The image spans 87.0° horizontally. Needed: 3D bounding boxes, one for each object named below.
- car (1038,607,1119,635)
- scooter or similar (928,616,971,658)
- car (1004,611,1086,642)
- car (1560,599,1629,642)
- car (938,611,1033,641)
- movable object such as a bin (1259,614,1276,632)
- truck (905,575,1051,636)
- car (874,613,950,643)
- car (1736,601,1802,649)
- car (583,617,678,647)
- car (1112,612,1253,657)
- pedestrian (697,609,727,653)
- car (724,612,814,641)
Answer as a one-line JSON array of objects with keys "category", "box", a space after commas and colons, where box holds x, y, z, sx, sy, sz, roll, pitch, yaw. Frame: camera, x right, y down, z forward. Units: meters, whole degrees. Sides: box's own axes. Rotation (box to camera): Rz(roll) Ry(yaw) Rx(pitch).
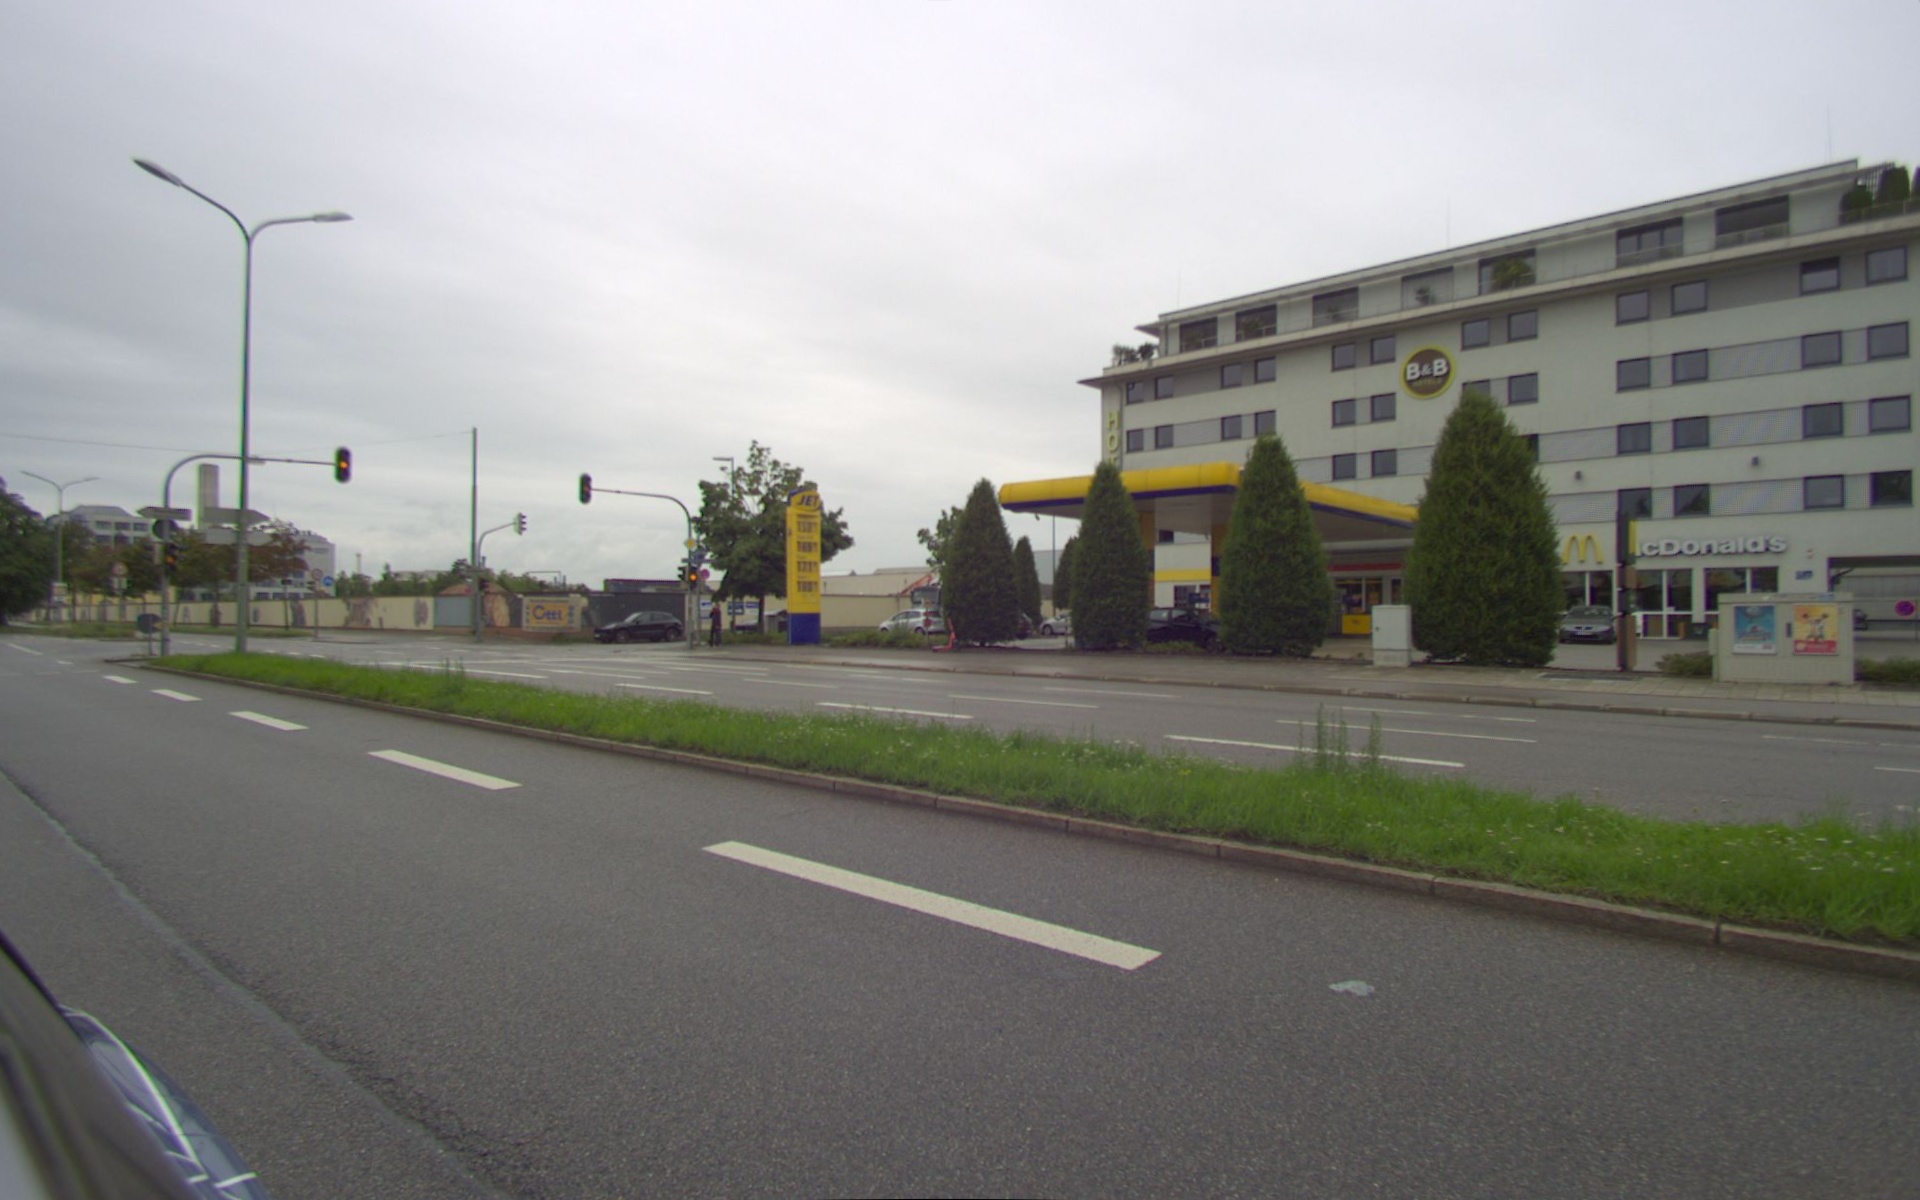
[{"category": "car", "box": [6.600, 1.165, 56.469, 4.191, 1.489, 1.883, -1, -3, 41]}, {"category": "scooter or similar", "box": [-0.334, 1.127, 31.300, 0.351, 1.252, 1.546, -2, 1, -43]}, {"category": "car", "box": [4.230, 1.316, 50.846, 3.979, 1.497, 1.605, -1, -3, 43]}, {"category": "car", "box": [24.431, 0.784, 38.917, 1.705, 1.599, 3.947, -1, -1, 40]}, {"category": "car", "box": [1.212, 1.249, 49.036, 4.349, 1.394, 1.685, -1, -2, 32]}, {"category": "movable object such as a bin", "box": [16.224, 1.224, 53.397, 0.687, 0.970, 0.629, -1, -3, 41]}, {"category": "truck", "box": [1.475, 0.380, 68.841, 2.611, 3.885, 11.763, -1, -1, 44]}, {"category": "car", "box": [-2.541, 1.488, 53.392, 3.975, 1.497, 1.607, -1, -3, 40]}, {"category": "car", "box": [28.481, 0.867, 35.583, 1.705, 1.599, 3.947, -1, -1, 40]}, {"category": "car", "box": [-16.951, 1.628, 52.204, 2.001, 1.439, 4.202, -1, -1, 44]}, {"category": "car", "box": [6.985, 1.086, 31.971, 3.997, 1.342, 1.776, -1, -3, 40]}, {"category": "pedestrian", "box": [-9.350, 1.157, 38.110, 0.687, 1.627, 0.794, -1, 1, 41]}, {"category": "car", "box": [-10.490, 1.432, 55.878, 2.001, 1.544, 4.565, -1, -1, 44]}]
